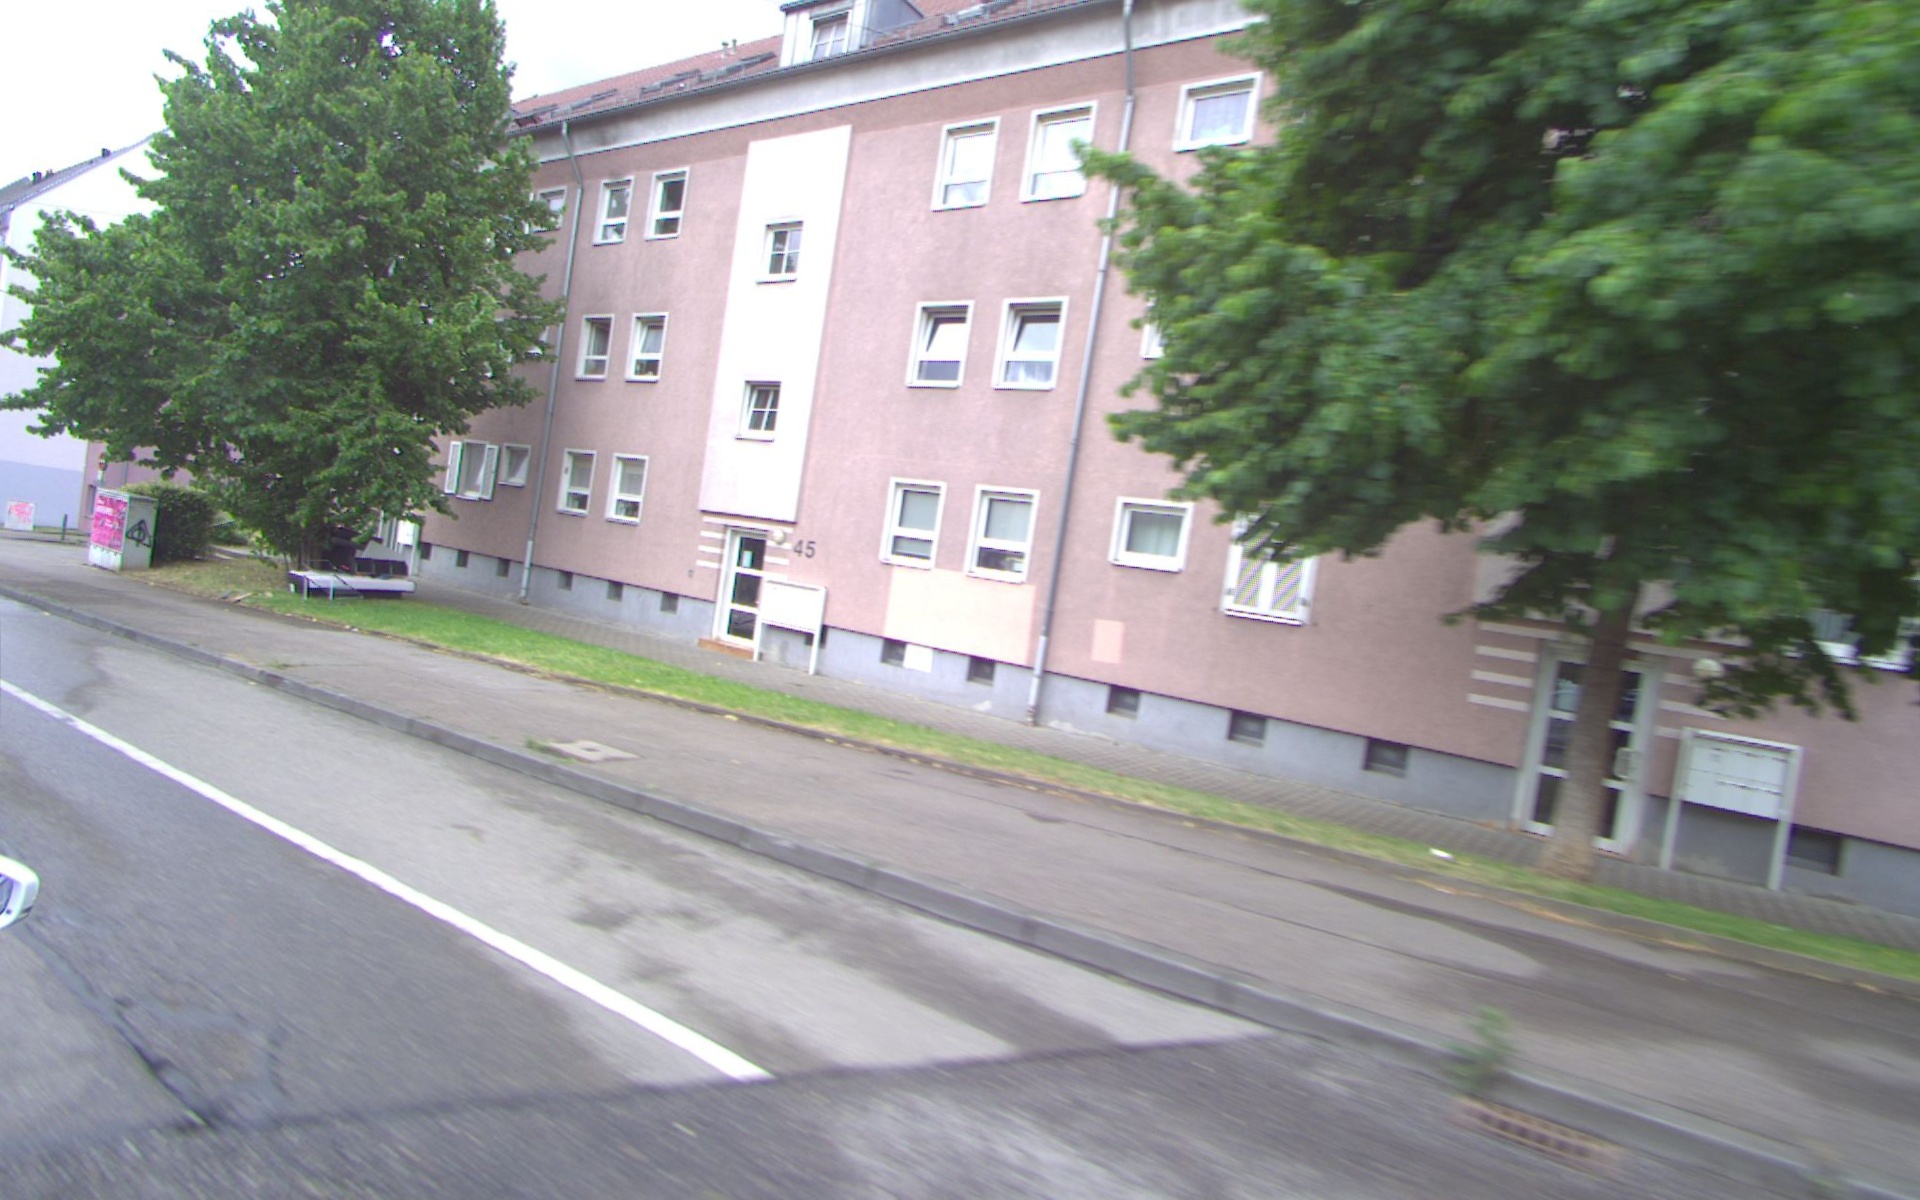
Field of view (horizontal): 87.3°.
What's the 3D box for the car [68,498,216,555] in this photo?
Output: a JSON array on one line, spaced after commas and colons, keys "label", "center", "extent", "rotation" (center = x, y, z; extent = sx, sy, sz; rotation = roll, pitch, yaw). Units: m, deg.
[{"label": "car", "center": [-31.257, -2.771, 38.543], "extent": [1.732, 1.473, 3.989], "rotation": [7, -1, 36]}]
